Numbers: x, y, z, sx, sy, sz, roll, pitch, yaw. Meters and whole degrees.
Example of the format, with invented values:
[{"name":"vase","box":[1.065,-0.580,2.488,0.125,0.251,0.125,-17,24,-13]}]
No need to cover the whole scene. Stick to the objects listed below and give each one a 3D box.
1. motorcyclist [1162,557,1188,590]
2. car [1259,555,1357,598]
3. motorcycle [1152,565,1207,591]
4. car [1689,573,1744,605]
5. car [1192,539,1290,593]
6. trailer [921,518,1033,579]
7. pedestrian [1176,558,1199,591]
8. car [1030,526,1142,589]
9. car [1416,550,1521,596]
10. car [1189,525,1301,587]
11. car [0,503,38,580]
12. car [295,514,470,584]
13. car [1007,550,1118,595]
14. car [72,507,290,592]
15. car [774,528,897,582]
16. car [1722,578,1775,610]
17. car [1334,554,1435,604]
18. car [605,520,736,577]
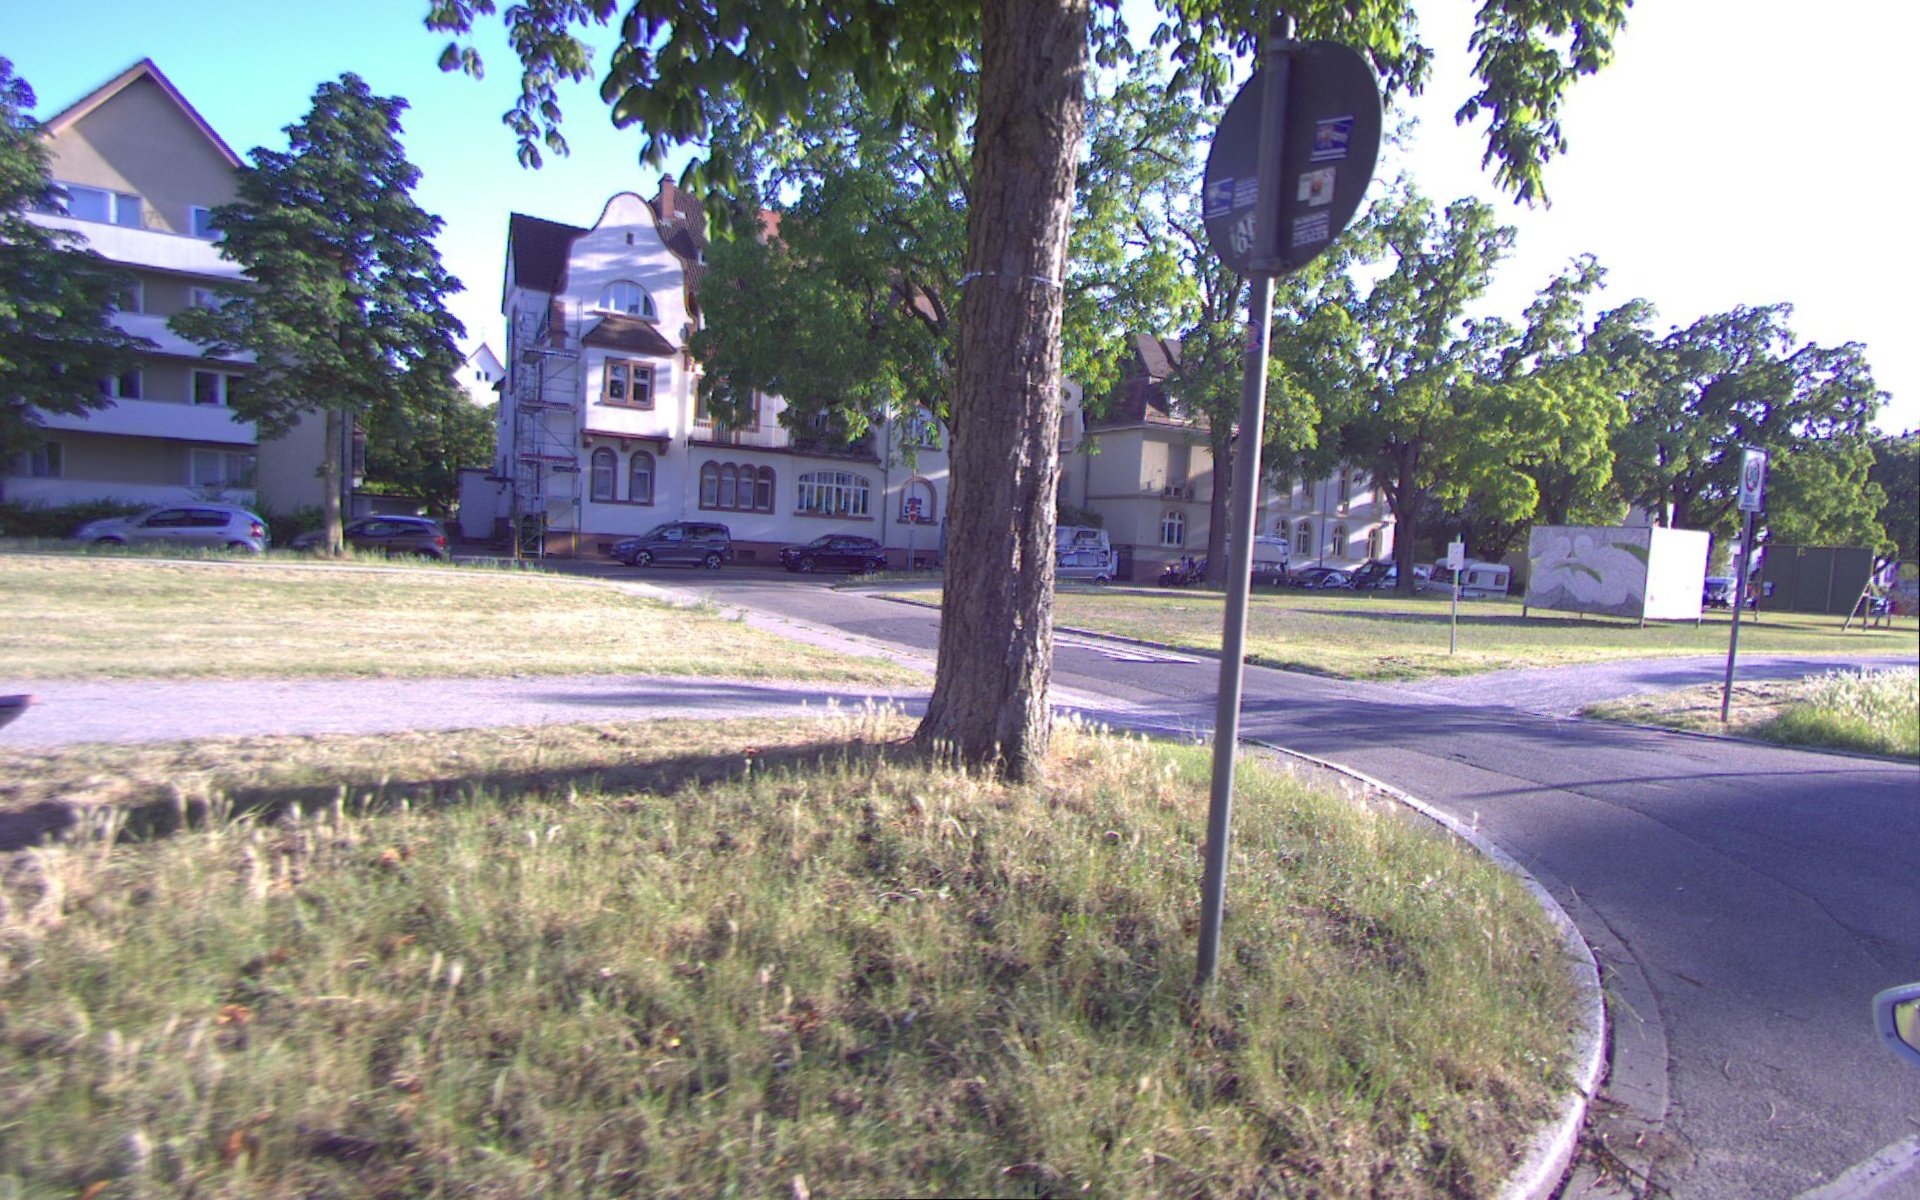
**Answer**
[{"name":"motorcyclist","box":[10.351,-1.293,48.346,0.774,1.552,0.928,2,2,-22]},{"name":"car","box":[16.860,-1.137,48.637,4.431,1.817,1.984,2,4,-30]},{"name":"motorcycle","box":[10.601,-1.070,48.469,2.485,1.141,0.942,2,1,-23]},{"name":"car","box":[62.348,-0.908,82.762,4.312,2.442,1.984,2,2,-30]},{"name":"car","box":[12.909,-1.559,46.061,4.263,2.205,1.677,2,4,-30]},{"name":"trailer","box":[0.783,-2.329,45.617,4.668,2.461,1.984,2,4,-30]},{"name":"pedestrian","box":[10.989,-1.255,48.618,0.590,1.552,0.927,2,2,-22]},{"name":"car","box":[6.160,-2.061,48.855,5.126,2.709,1.984,2,4,-30]},{"name":"car","box":[27.997,-1.490,55.313,5.394,2.267,2.522,1,4,-30]},{"name":"car","box":[15.454,-2.363,54.339,5.751,2.961,2.425,2,2,-31]},{"name":"car","box":[-24.829,-1.515,23.657,4.204,1.744,1.984,2,4,-29]},{"name":"car","box":[-16.468,-1.465,28.851,4.204,1.671,1.984,2,4,-29]},{"name":"car","box":[4.199,-1.104,40.968,4.263,1.580,1.677,2,4,-30]},{"name":"car","box":[-20.248,-1.328,26.360,4.204,1.885,1.984,2,4,-29]},{"name":"car","box":[-5.249,-1.891,42.389,4.697,1.979,1.982,2,4,-32]},{"name":"car","box":[67.210,-0.500,85.591,4.312,2.442,1.984,2,2,-30]},{"name":"car","box":[21.804,-1.075,51.511,5.126,2.280,1.983,2,4,-31]},{"name":"car","box":[-11.112,-1.973,38.646,4.448,1.901,1.981,2,4,-33]}]
